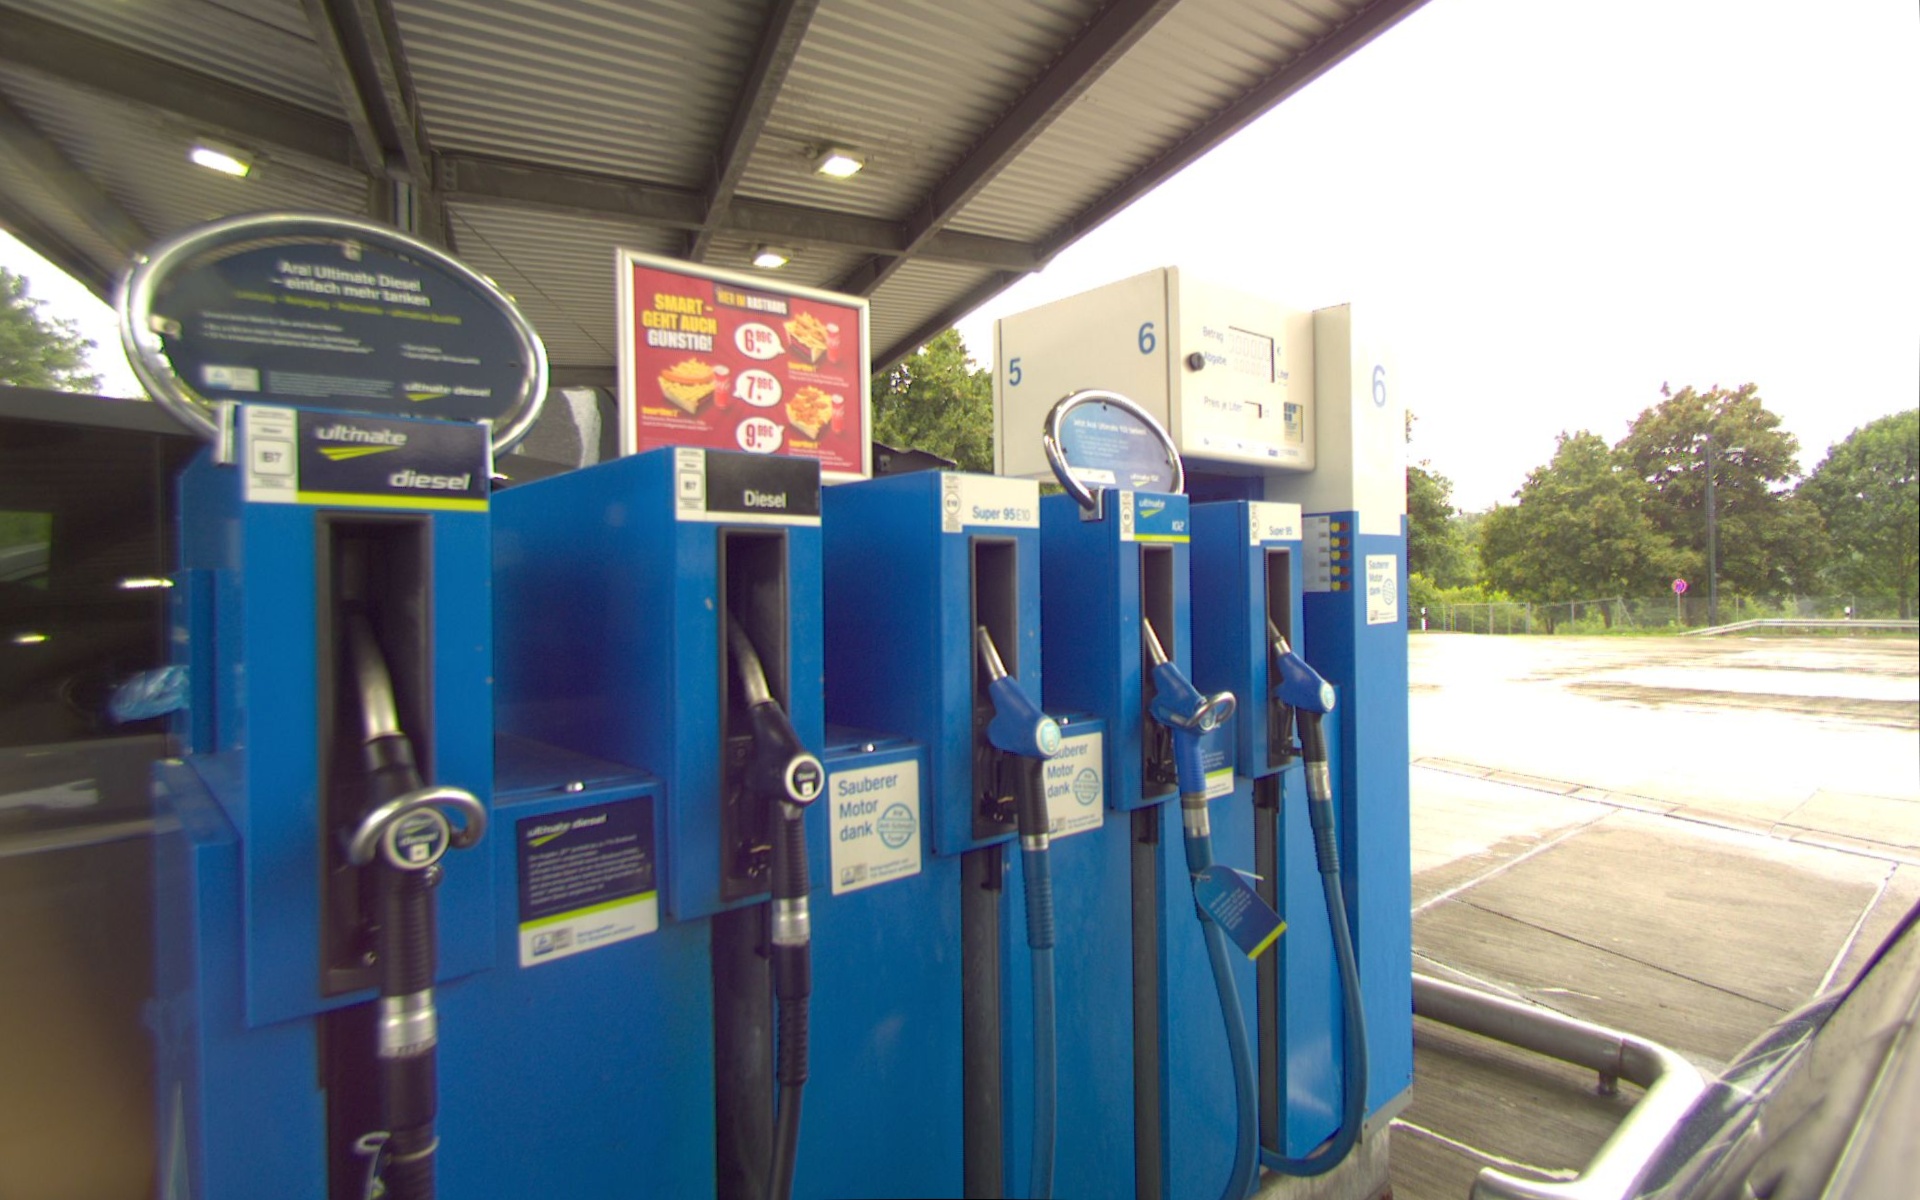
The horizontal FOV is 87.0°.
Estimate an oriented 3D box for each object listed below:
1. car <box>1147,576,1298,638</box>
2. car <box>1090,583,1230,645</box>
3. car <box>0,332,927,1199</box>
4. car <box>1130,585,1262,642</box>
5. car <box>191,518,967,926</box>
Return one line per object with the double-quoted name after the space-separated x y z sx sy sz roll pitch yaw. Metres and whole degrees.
8.887 0.211 34.499 4.817 1.974 2.306 1 1 14 "car"
5.871 0.377 29.725 3.941 1.680 1.593 1 0 14 "car"
-2.600 0.501 1.812 5.050 1.821 1.864 -1 0 -41 "car"
7.425 0.389 31.916 3.941 1.680 1.593 1 0 14 "car"
-2.236 0.518 6.699 4.460 1.821 1.864 -1 0 -41 "car"
